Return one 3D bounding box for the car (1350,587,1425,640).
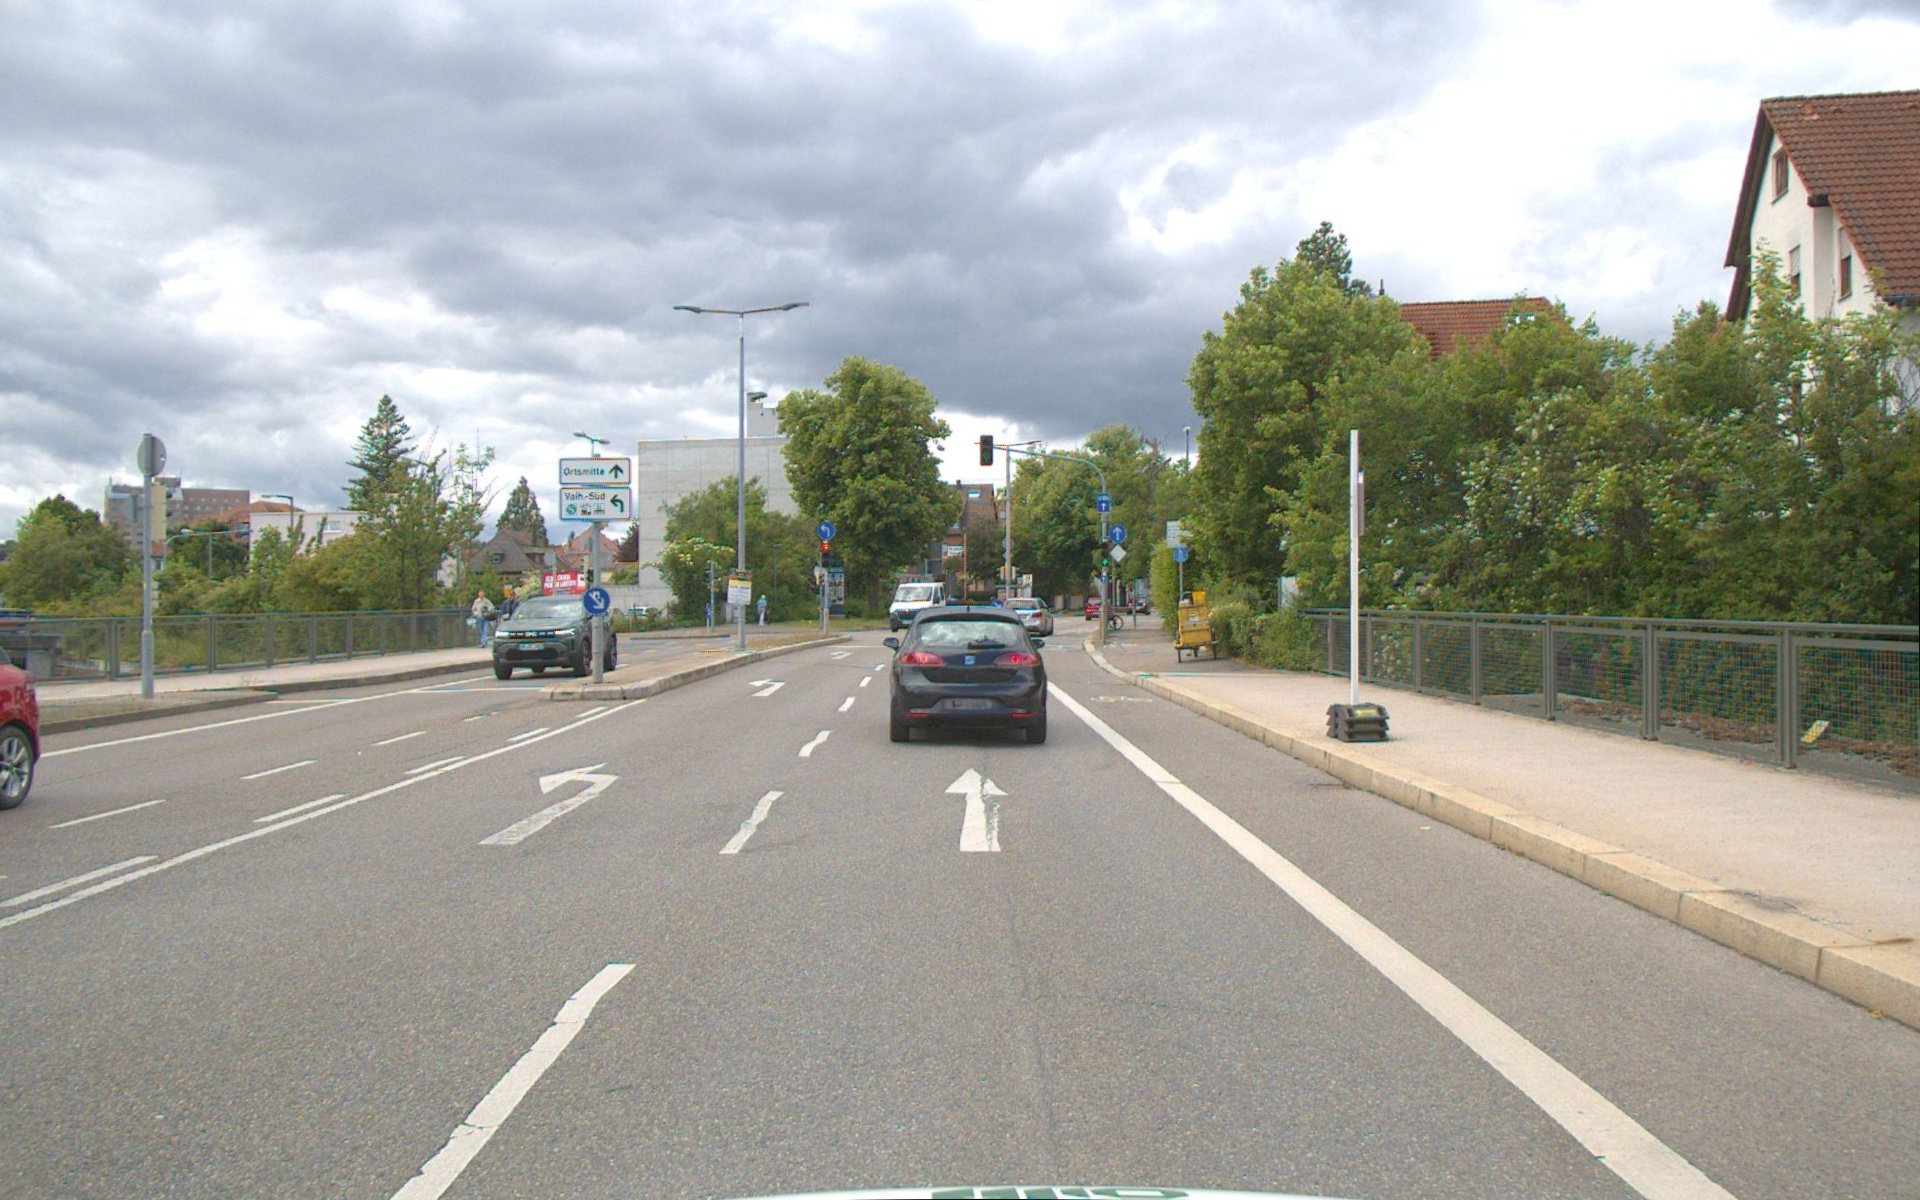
[{"bbox_3d":[12.761,0.381,49.538,1.632,1.475,4.003,-2,0,7],"label":"car"}]

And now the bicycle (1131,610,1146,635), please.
[{"bbox_3d":[7.756,0.982,71.906,0.614,1.046,1.505,0,0,8],"label":"bicycle"}]

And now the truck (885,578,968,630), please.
[{"bbox_3d":[-1.522,0.185,78.568,2.080,2.304,6.811,-1,0,15],"label":"truck"}]

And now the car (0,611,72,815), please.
[{"bbox_3d":[-7.789,0.842,10.935,1.685,1.473,4.065,-2,0,-1],"label":"car"}]

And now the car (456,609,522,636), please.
[{"bbox_3d":[-28.867,1.380,101.488,1.760,1.581,3.998,-1,0,25],"label":"car"}]

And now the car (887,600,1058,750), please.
[{"bbox_3d":[0.227,0.768,18.873,1.722,1.474,3.716,1,0,3],"label":"car"}]

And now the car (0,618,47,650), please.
[{"bbox_3d":[-54.260,1.890,93.889,3.930,1.691,1.787,2,0,-22],"label":"car"}]

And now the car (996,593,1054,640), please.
[{"bbox_3d":[2.581,0.608,64.820,1.780,1.729,4.256,-1,0,8],"label":"car"}]

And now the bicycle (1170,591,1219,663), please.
[{"bbox_3d":[5.283,0.582,37.358,0.873,1.537,2.785,-3,0,5],"label":"bicycle"}]

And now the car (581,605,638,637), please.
[{"bbox_3d":[-23.622,1.384,111.476,1.952,2.049,4.001,2,0,19],"label":"car"}]

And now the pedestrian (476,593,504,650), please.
[{"bbox_3d":[-13.655,0.622,48.083,0.643,1.662,0.832,1,0,-6],"label":"pedestrian"}]

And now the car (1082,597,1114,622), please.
[{"bbox_3d":[8.976,0.592,107.943,1.901,1.507,4.255,-1,0,3],"label":"car"}]

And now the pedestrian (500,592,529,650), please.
[{"bbox_3d":[-12.943,0.612,48.060,0.643,1.662,1.069,1,0,-6],"label":"pedestrian"}]

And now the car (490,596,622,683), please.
[{"bbox_3d":[-8.215,0.767,34.003,1.786,1.655,4.277,-1,0,-2],"label":"car"}]

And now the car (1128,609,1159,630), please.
[{"bbox_3d":[15.580,1.665,140.269,1.951,1.713,4.003,-1,0,16],"label":"car"}]

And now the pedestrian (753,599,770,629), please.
[{"bbox_3d":[-10.344,0.737,86.358,0.641,1.549,0.924,-1,0,7],"label":"pedestrian"}]

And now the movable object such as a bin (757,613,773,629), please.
[{"bbox_3d":[-10.248,1.092,87.060,0.641,0.812,0.898,-1,0,7],"label":"movable object such as a bin"}]

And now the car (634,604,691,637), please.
[{"bbox_3d":[-19.712,1.362,109.799,1.952,2.049,4.001,2,0,19],"label":"car"}]
